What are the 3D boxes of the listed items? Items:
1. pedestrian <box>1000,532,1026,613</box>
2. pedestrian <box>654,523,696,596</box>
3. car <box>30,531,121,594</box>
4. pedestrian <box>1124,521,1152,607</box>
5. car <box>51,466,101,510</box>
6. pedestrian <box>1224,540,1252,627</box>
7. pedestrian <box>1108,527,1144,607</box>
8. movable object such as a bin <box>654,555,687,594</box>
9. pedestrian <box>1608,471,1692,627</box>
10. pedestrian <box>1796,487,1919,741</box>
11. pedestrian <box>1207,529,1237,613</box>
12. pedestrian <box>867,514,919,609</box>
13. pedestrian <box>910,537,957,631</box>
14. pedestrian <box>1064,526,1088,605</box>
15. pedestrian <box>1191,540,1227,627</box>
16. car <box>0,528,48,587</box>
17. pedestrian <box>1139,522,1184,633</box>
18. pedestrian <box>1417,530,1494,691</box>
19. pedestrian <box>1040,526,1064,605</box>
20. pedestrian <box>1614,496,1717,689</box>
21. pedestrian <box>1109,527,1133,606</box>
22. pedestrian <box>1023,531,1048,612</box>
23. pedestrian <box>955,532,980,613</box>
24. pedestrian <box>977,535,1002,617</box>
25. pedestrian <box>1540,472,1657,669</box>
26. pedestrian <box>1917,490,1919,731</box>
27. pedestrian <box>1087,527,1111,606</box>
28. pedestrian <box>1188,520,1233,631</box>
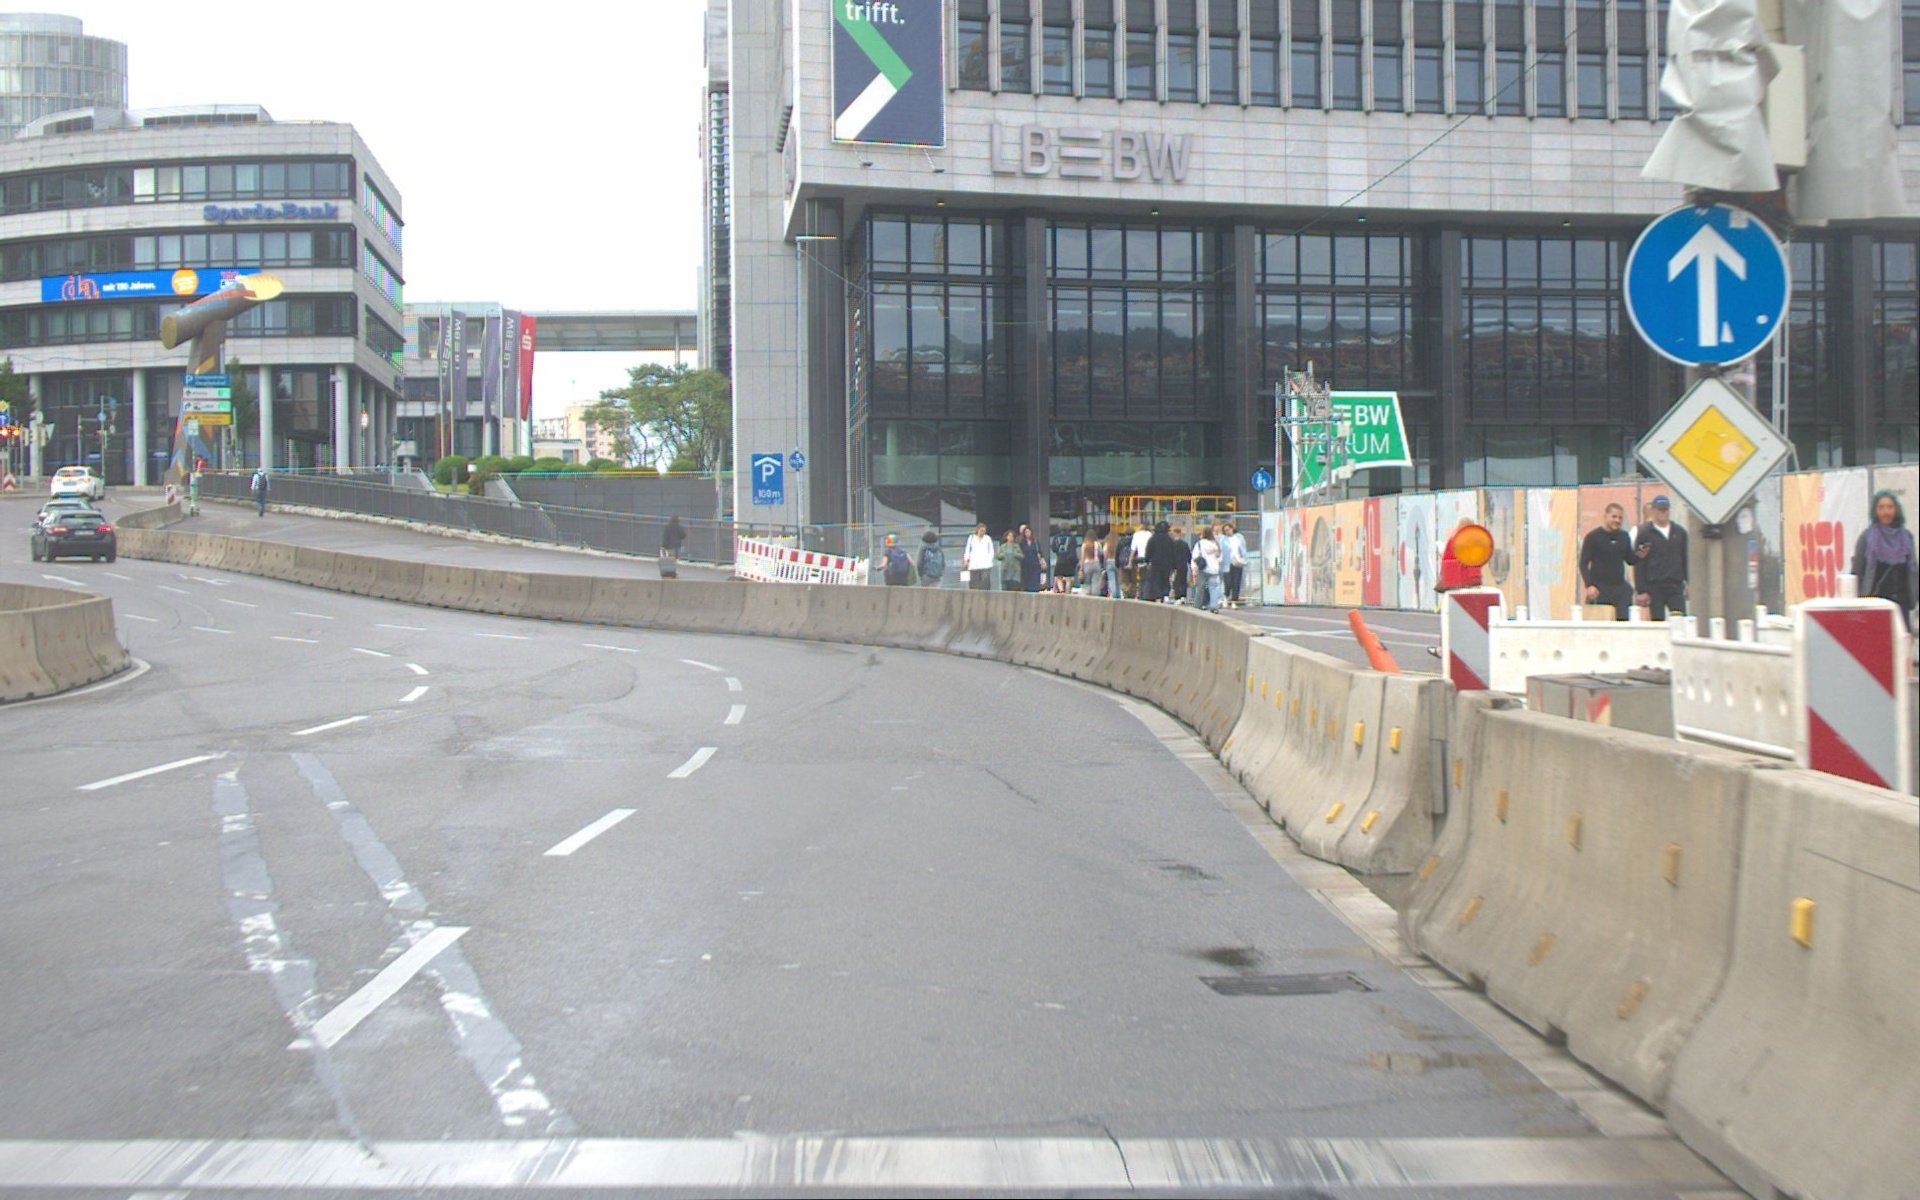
[{"bbox_3d":[1.121,-0.577,72.645,0.453,1.699,0.647,0,1,-6],"label":"pedestrian"},{"bbox_3d":[-7.048,-1.010,84.933,0.756,1.784,1.057,0,1,-22],"label":"pedestrian"},{"bbox_3d":[-23.429,-0.976,90.992,1.674,1.503,3.746,0,-2,-25],"label":"car"},{"bbox_3d":[3.733,-0.759,72.053,0.529,1.812,0.536,0,1,-1],"label":"pedestrian"},{"bbox_3d":[-37.524,-4.745,145.924,1.993,1.798,4.267,0,2,-15],"label":"car"},{"bbox_3d":[5.464,-0.326,67.598,0.448,1.699,0.647,0,1,-2],"label":"pedestrian"},{"bbox_3d":[3.553,-0.702,73.430,0.511,1.699,0.574,-1,2,-38],"label":"pedestrian"},{"bbox_3d":[-7.116,-0.629,84.392,0.598,0.930,0.742,0,0,-22],"label":"movable object such as a bin"},{"bbox_3d":[8.358,-0.623,41.664,0.779,1.855,0.812,-1,1,-5],"label":"pedestrian"},{"bbox_3d":[6.816,0.091,25.634,0.869,1.855,0.949,0,1,-5],"label":"pedestrian"},{"bbox_3d":[5.304,-0.592,69.582,0.500,1.699,0.733,0,1,-3],"label":"pedestrian"},{"bbox_3d":[-1.168,-0.681,60.172,0.750,1.636,0.824,0,1,-13],"label":"pedestrian"},{"bbox_3d":[-0.463,-0.282,60.359,0.658,1.636,0.824,0,1,-13],"label":"pedestrian"},{"bbox_3d":[2.533,-0.751,74.878,0.448,1.699,0.646,0,1,7],"label":"pedestrian"},{"bbox_3d":[4.892,-0.329,67.653,0.625,1.699,0.647,0,1,-2],"label":"pedestrian"},{"bbox_3d":[-30.390,-1.386,110.457,1.738,1.869,3.779,-1,1,-20],"label":"car"},{"bbox_3d":[3.697,-0.421,62.940,0.784,2.007,0.863,0,1,5],"label":"pedestrian"},{"bbox_3d":[5.745,0.117,39.917,0.732,1.848,0.831,0,1,-3],"label":"pedestrian"},{"bbox_3d":[2.012,-0.759,74.925,0.448,1.699,0.646,0,1,7],"label":"pedestrian"},{"bbox_3d":[6.853,-0.079,33.431,0.779,1.855,0.812,0,1,-5],"label":"pedestrian"},{"bbox_3d":[3.493,-0.733,74.646,0.448,1.699,0.646,0,1,7],"label":"pedestrian"},{"bbox_3d":[1.599,-0.608,72.712,0.448,1.699,0.647,0,1,-6],"label":"pedestrian"},{"bbox_3d":[0.157,-0.581,72.523,0.448,1.699,0.647,0,1,-6],"label":"pedestrian"},{"bbox_3d":[0.628,-0.512,72.563,0.448,1.699,0.647,0,1,-6],"label":"pedestrian"},{"bbox_3d":[6.030,-0.280,32.534,0.819,1.821,1.111,-1,1,-4],"label":"pedestrian"},{"bbox_3d":[7.829,0.092,26.045,0.779,1.855,1.058,0,1,-5],"label":"pedestrian"},{"bbox_3d":[3.025,-0.735,74.774,0.448,1.699,0.646,0,1,7],"label":"pedestrian"},{"bbox_3d":[4.580,-0.458,62.786,0.784,2.007,0.863,0,1,5],"label":"pedestrian"}]
